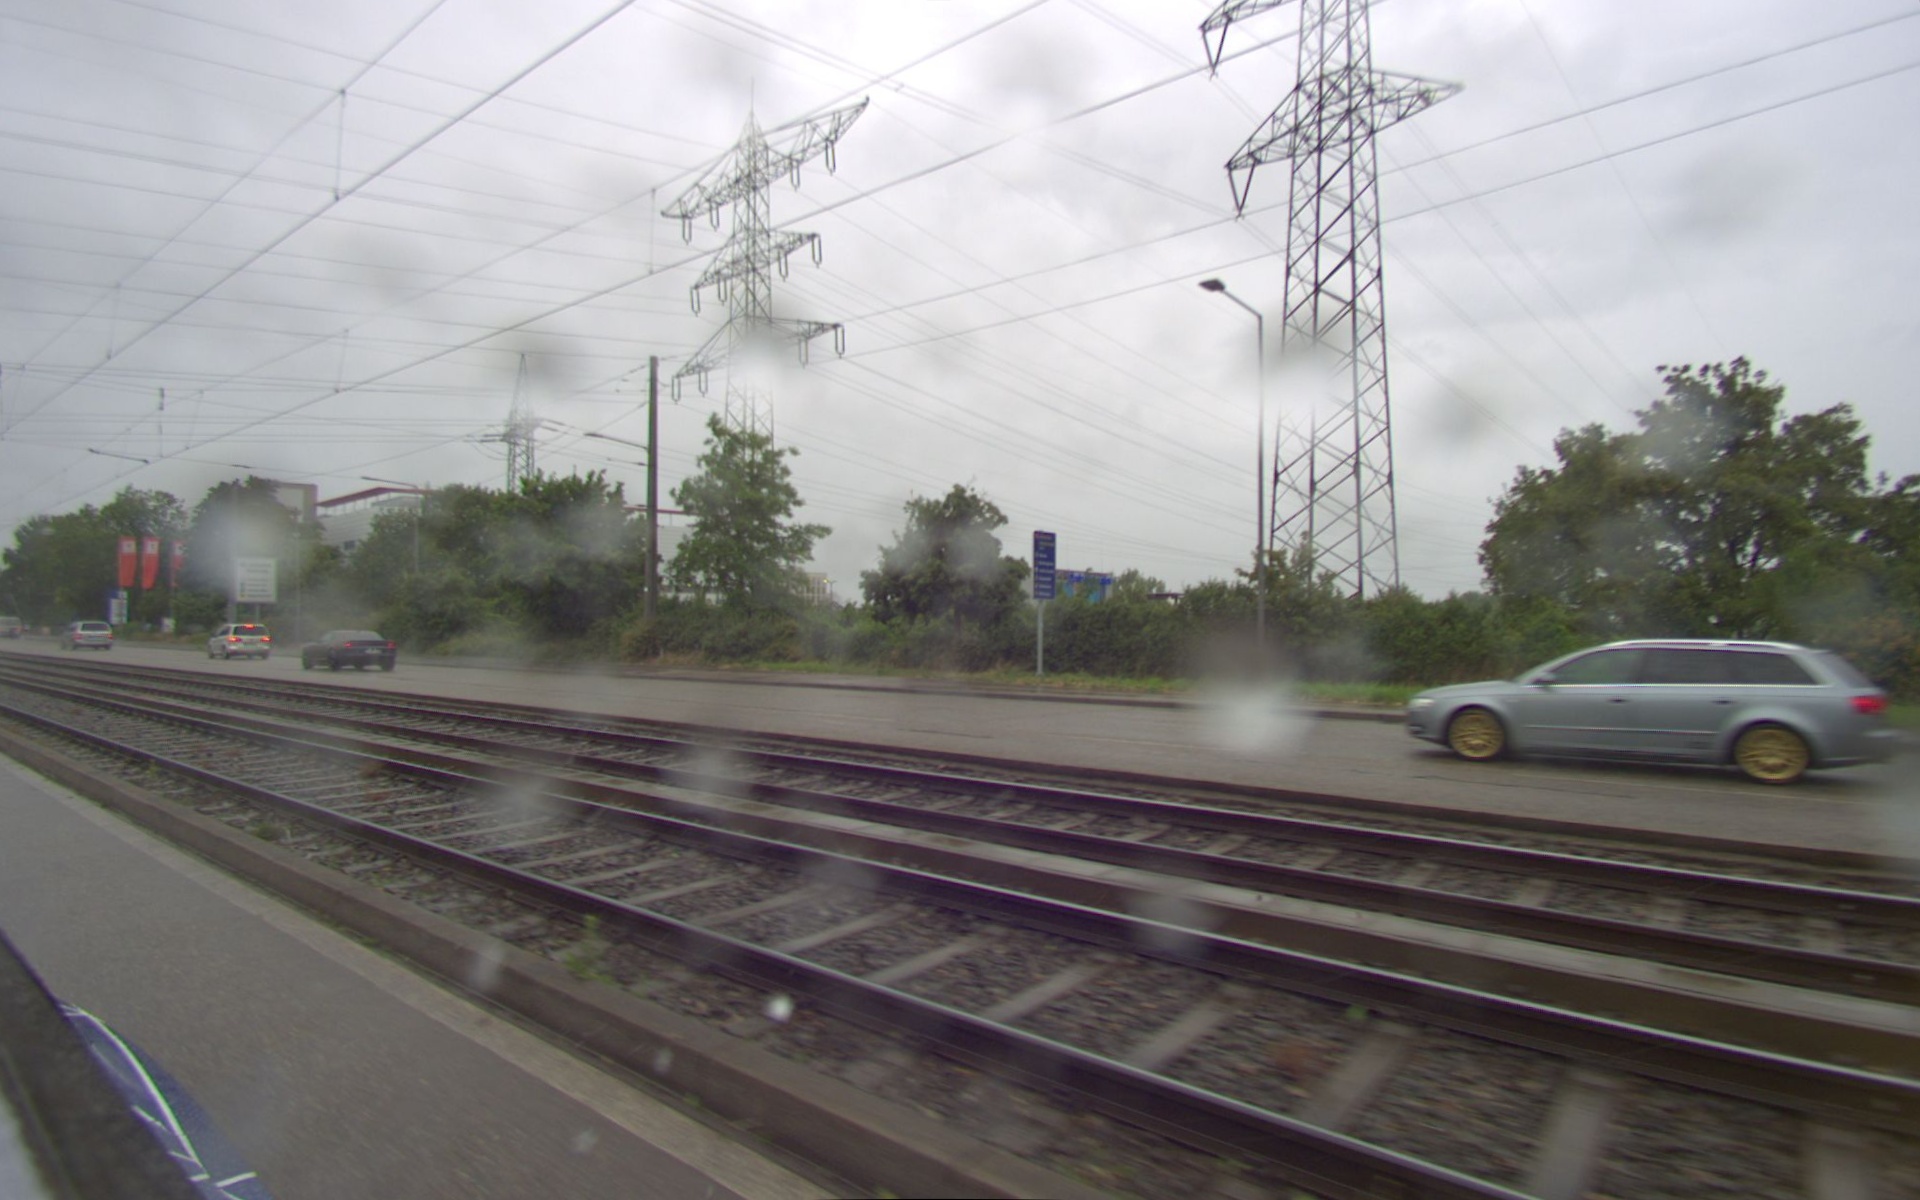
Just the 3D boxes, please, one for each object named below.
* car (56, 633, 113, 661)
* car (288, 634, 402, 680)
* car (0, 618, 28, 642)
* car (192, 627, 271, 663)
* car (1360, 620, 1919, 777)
[{"bbox_3d":[-54.558,2.928,63.041,5.131,1.647,1.807,-2,-1,39],"label":"car"},{"bbox_3d":[-21.494,1.970,35.268,5.250,1.475,1.972,-2,-4,43],"label":"car"},{"bbox_3d":[-98.243,3.088,104.364,5.977,2.316,2.129,-2,-6,39],"label":"car"},{"bbox_3d":[-34.439,2.114,47.795,5.061,1.586,1.824,-2,-1,40],"label":"car"},{"bbox_3d":[7.355,0.975,11.310,5.066,1.373,1.740,-2,-1,40],"label":"car"}]
